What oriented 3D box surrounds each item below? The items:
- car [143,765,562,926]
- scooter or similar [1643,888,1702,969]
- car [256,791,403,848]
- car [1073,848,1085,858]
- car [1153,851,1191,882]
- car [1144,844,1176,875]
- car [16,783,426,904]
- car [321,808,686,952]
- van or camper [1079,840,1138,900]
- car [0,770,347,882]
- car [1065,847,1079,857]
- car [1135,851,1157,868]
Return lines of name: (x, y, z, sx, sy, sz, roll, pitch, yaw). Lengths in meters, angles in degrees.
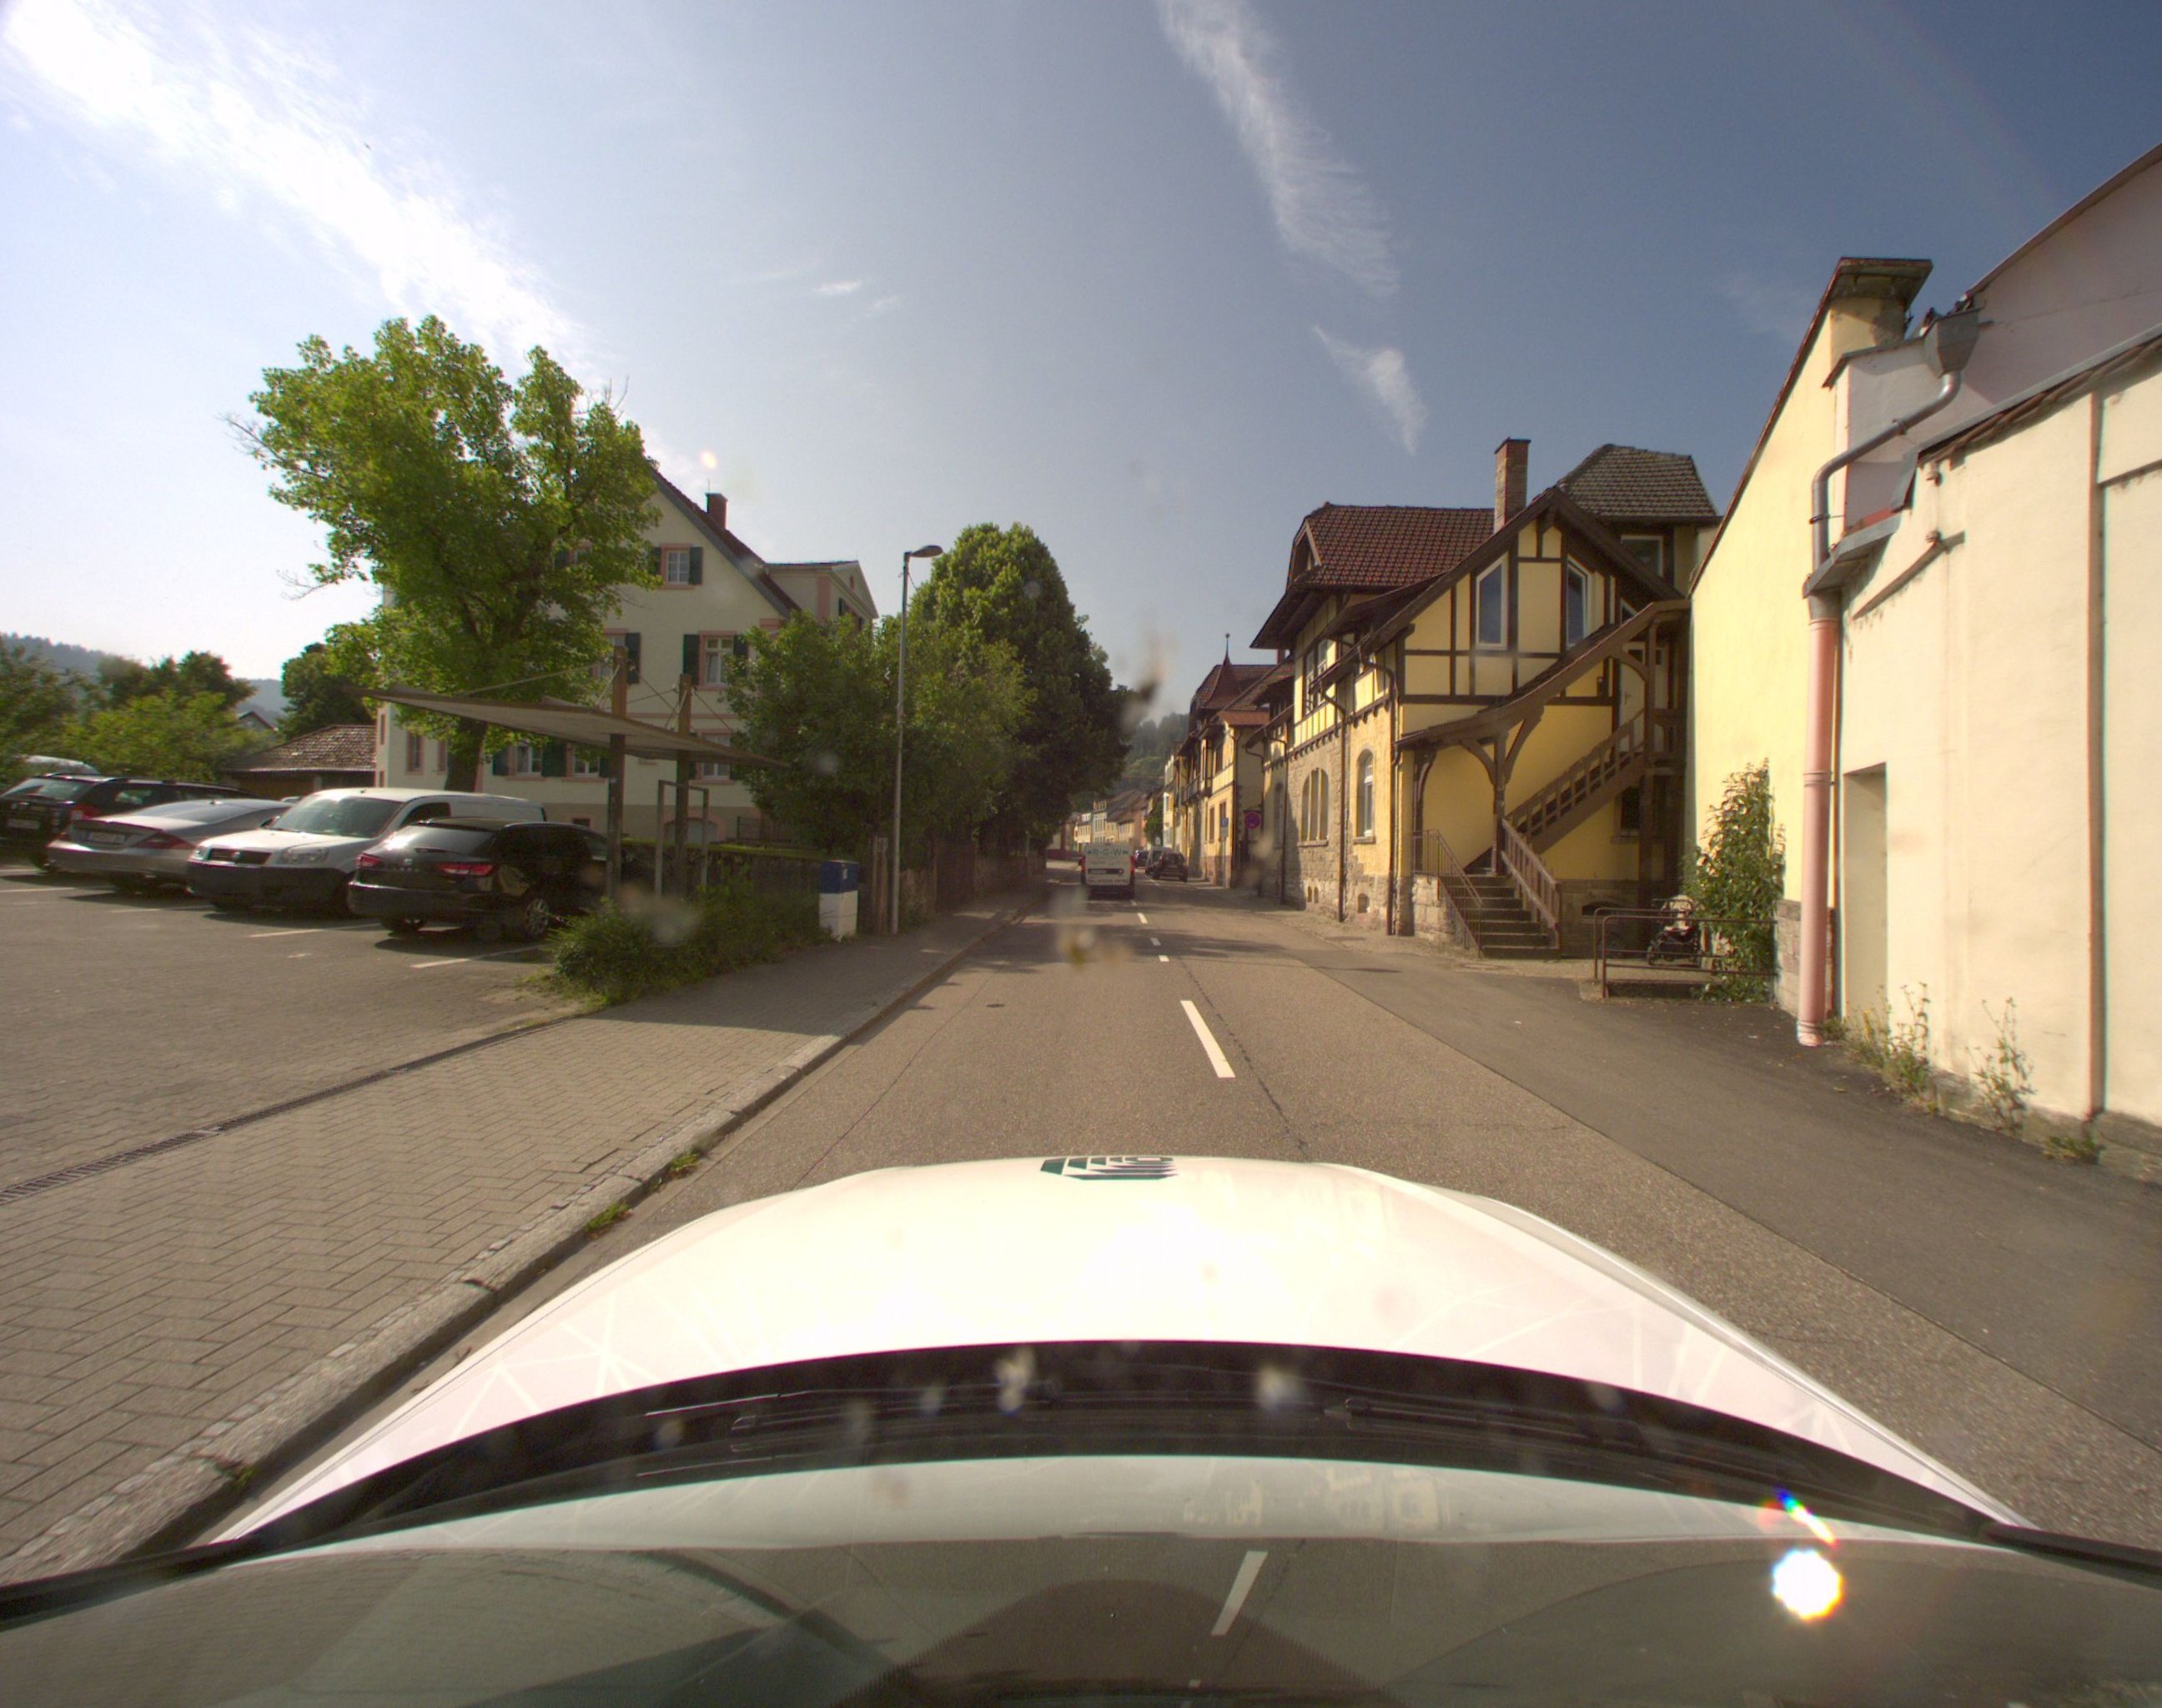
car: (-10.125, -0.109, 11.998, 1.817, 1.772, 4.681, 4, 0, 0)
scooter or similar: (8.601, 1.057, 11.874, 0.614, 1.064, 1.017, 0, 0, 32)
car: (-24.091, -1.110, 26.129, 3.954, 1.505, 1.822, 4, 1, 21)
car: (-0.402, -0.210, 166.367, 1.771, 1.799, 3.987, 1, 0, -10)
car: (5.154, 0.681, 46.602, 1.804, 1.596, 3.929, 3, 0, 2)
car: (5.465, 0.398, 56.789, 1.864, 2.013, 4.001, 2, 0, 1)
car: (-12.532, -0.158, 12.342, 1.808, 1.422, 4.001, 4, 1, 1)
car: (-7.299, 0.258, 10.984, 1.609, 1.462, 4.396, 3, 1, 2)
van or camper: (0.909, 0.479, 27.876, 1.822, 1.844, 4.189, -1, 1, 1)
car: (-15.063, -0.436, 13.598, 1.800, 1.505, 4.002, 4, 1, 2)
car: (-1.715, -0.380, 157.937, 1.994, 1.782, 3.986, 3, 1, -11)
car: (5.795, 0.473, 73.202, 1.664, 1.508, 3.999, 0, 0, 0)
